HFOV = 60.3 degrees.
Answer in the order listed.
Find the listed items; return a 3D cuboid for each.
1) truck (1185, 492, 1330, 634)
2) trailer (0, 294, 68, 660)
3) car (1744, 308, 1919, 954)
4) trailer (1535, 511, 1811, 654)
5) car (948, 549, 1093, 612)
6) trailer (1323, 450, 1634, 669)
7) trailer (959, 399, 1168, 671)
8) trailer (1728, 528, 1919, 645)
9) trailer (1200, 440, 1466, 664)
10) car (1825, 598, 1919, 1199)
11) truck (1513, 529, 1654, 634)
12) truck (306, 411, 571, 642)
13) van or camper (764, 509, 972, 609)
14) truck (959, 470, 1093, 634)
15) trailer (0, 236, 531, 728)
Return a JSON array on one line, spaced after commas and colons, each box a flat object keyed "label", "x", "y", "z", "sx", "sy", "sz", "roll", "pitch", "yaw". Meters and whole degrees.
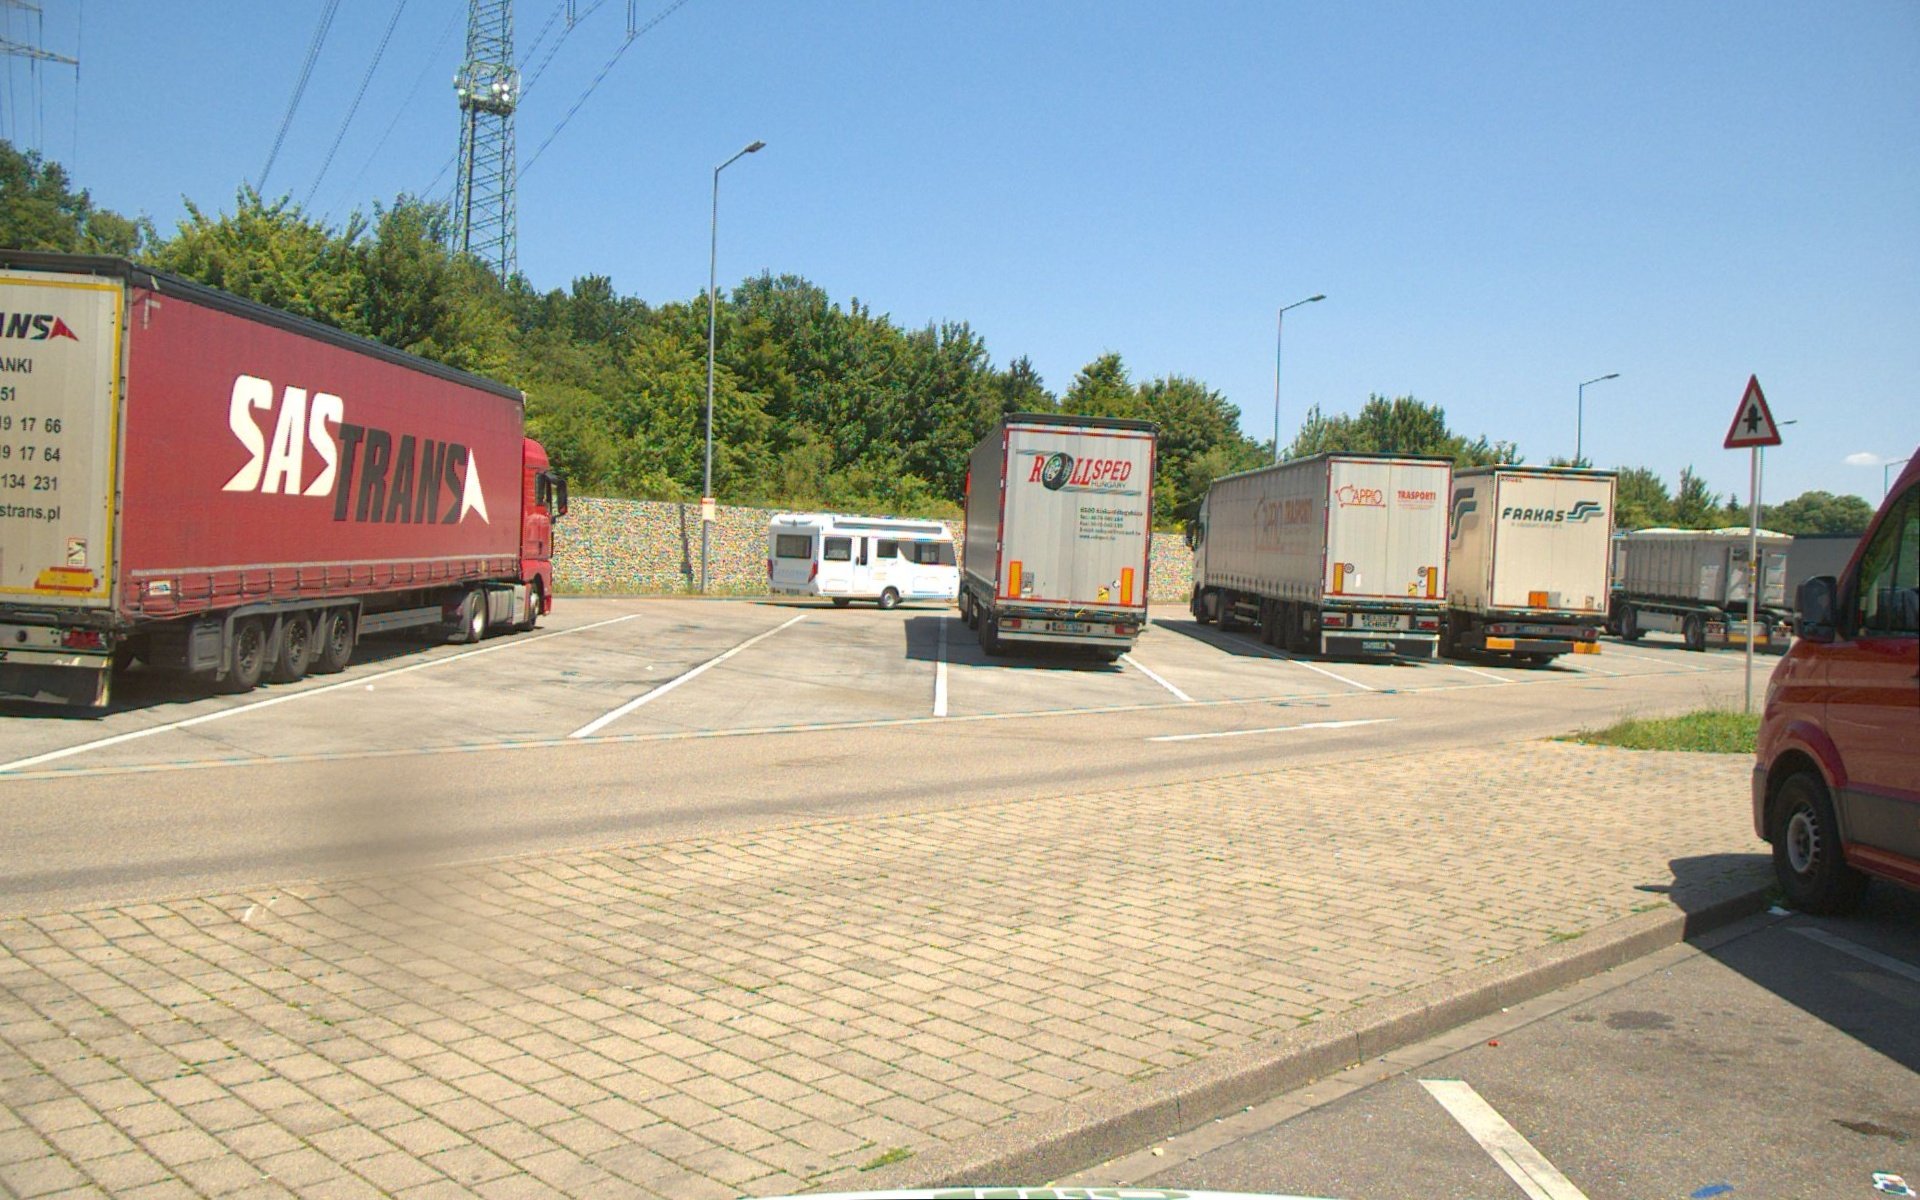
[{"label": "truck", "x": 8.092, "y": -1.050, "z": 45.624, "sx": 2.794, "sy": 3.544, "sz": 5.483, "roll": 3, "pitch": 2, "yaw": -1}, {"label": "trailer", "x": -12.534, "y": -1.330, "z": 15.693, "sx": 2.673, "sy": 4.282, "sz": 10.170, "roll": 2, "pitch": 2, "yaw": -1}, {"label": "car", "x": 4.998, "y": 0.169, "z": 5.547, "sx": 2.023, "sy": 2.742, "sz": 6.397, "roll": 1, "pitch": 1, "yaw": 4}, {"label": "trailer", "x": 21.924, "y": -0.684, "z": 52.191, "sx": 2.780, "sy": 3.781, "sz": 13.726, "roll": 3, "pitch": 2, "yaw": 1}, {"label": "car", "x": 1.898, "y": -0.587, "z": 51.075, "sx": 4.474, "sy": 1.737, "sz": 1.760, "roll": 1, "pitch": 3, "yaw": -43}, {"label": "trailer", "x": 11.765, "y": -1.022, "z": 39.618, "sx": 2.781, "sy": 4.204, "sz": 13.722, "roll": 3, "pitch": 2, "yaw": -1}, {"label": "trailer", "x": 1.643, "y": -1.244, "z": 33.226, "sx": 2.848, "sy": 4.204, "sz": 13.720, "roll": 3, "pitch": 2, "yaw": -1}, {"label": "trailer", "x": 34.939, "y": -0.635, "z": 65.393, "sx": 2.780, "sy": 4.119, "sz": 13.726, "roll": 3, "pitch": 2, "yaw": 1}, {"label": "trailer", "x": 8.205, "y": -1.147, "z": 38.814, "sx": 2.781, "sy": 4.204, "sz": 13.722, "roll": 3, "pitch": 2, "yaw": -1}, {"label": "car", "x": 2.585, "y": 0.802, "z": 1.143, "sx": 1.703, "sy": 1.508, "sz": 3.813, "roll": 1, "pitch": 1, "yaw": -6}, {"label": "truck", "x": 22.006, "y": -0.718, "z": 58.695, "sx": 2.794, "sy": 3.423, "sz": 5.484, "roll": 3, "pitch": 2, "yaw": 0}, {"label": "truck", "x": -8.800, "y": -1.229, "z": 28.611, "sx": 2.794, "sy": 3.487, "sz": 5.483, "roll": 3, "pitch": 2, "yaw": -1}, {"label": "van or camper", "x": -2.527, "y": -1.134, "z": 46.931, "sx": 5.804, "sy": 2.609, "sz": 2.235, "roll": 1, "pitch": 2, "yaw": -45}, {"label": "truck", "x": 1.476, "y": -1.160, "z": 39.835, "sx": 2.794, "sy": 3.544, "sz": 5.483, "roll": 3, "pitch": 2, "yaw": -1}, {"label": "trailer", "x": -8.688, "y": -1.316, "z": 21.175, "sx": 2.848, "sy": 4.203, "sz": 13.723, "roll": 3, "pitch": 2, "yaw": -1}]
